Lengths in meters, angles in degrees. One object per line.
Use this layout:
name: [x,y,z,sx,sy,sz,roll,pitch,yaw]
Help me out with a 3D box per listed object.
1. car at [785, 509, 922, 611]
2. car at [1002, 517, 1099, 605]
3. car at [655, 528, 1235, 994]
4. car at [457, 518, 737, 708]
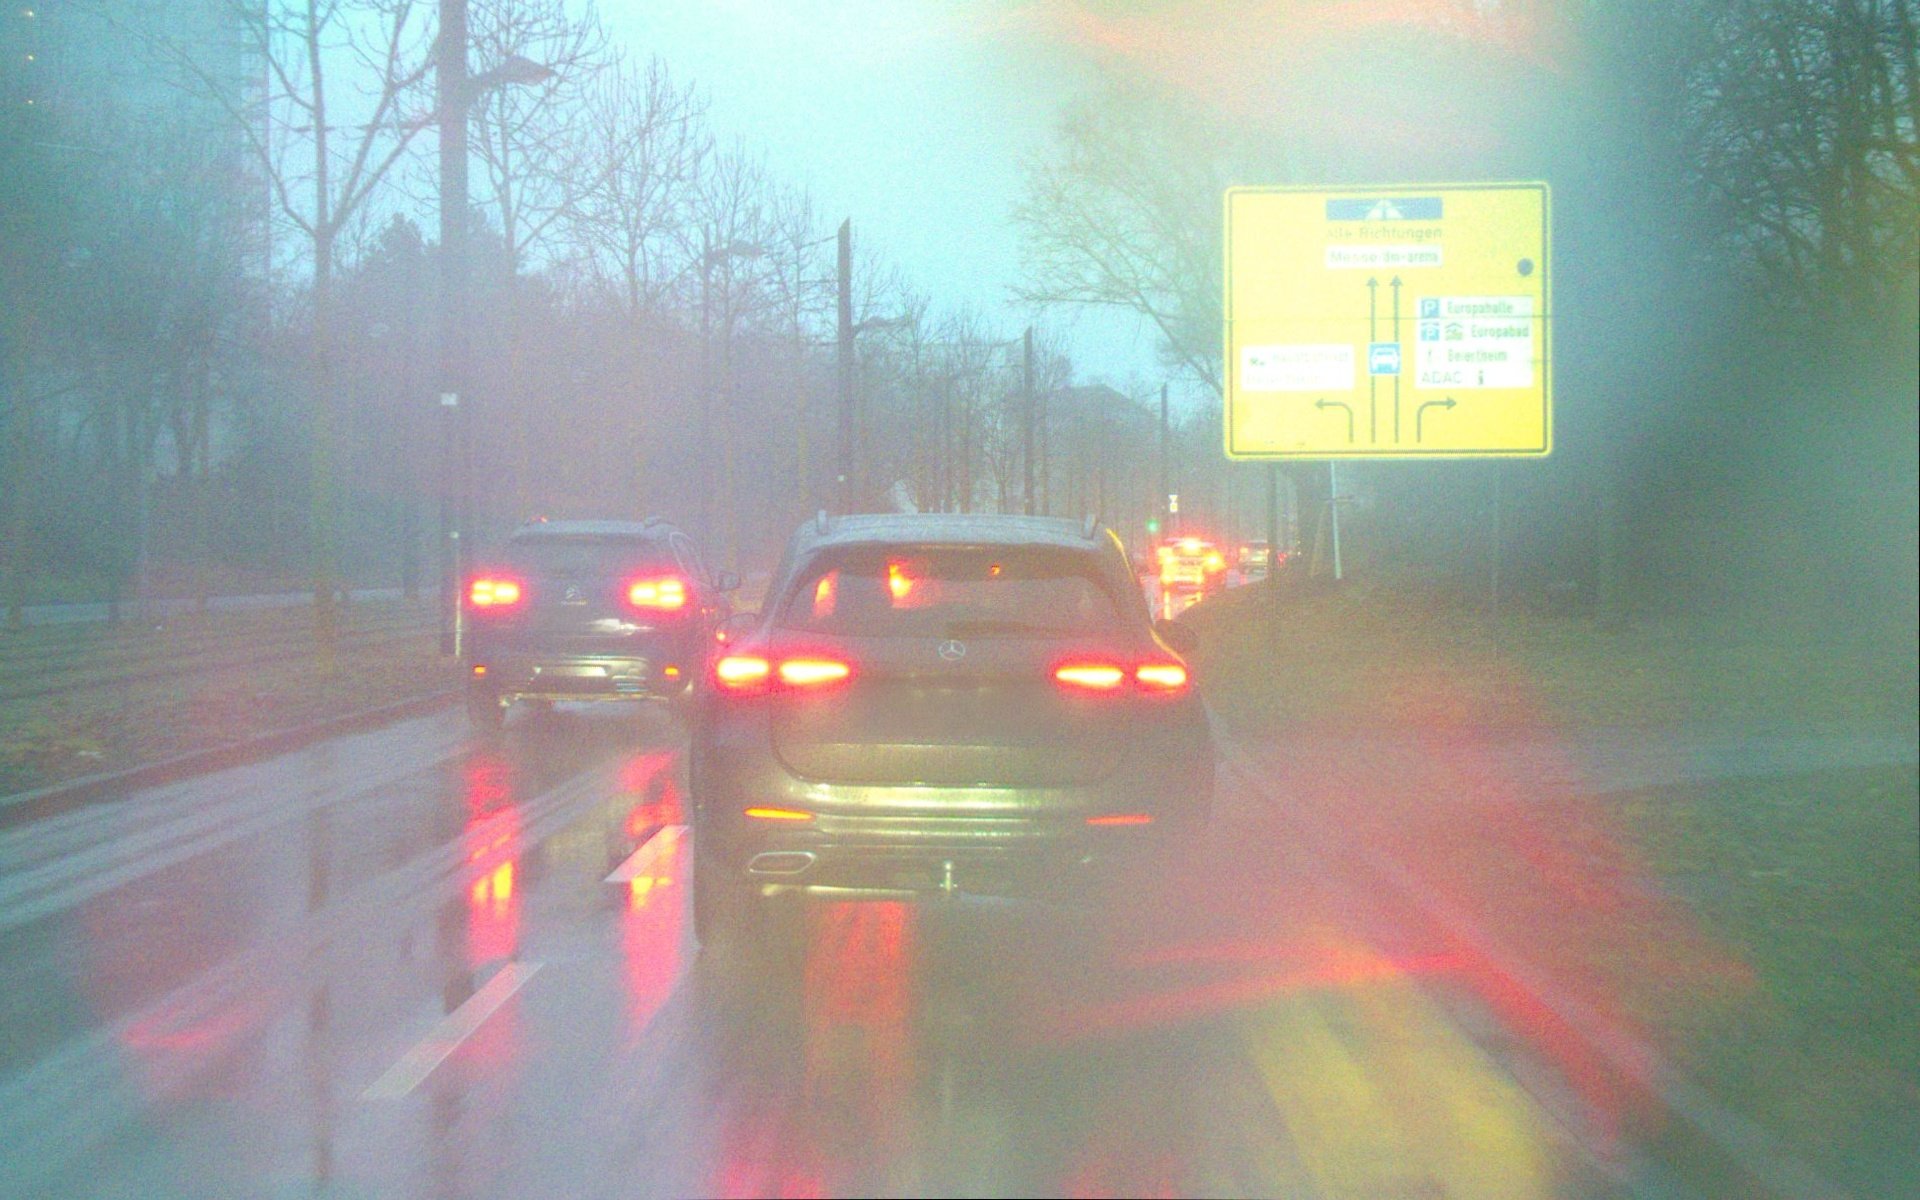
car: [-1.688,-0.674,55.716,1.880,1.588,4.000,0,2,3]
car: [1.672,-0.732,62.629,1.709,1.552,3.996,0,1,2]
car: [-0.110,0.520,13.933,1.998,1.578,4.001,1,1,-2]
car: [-2.944,0.053,28.619,1.880,1.454,4.000,0,2,0]
